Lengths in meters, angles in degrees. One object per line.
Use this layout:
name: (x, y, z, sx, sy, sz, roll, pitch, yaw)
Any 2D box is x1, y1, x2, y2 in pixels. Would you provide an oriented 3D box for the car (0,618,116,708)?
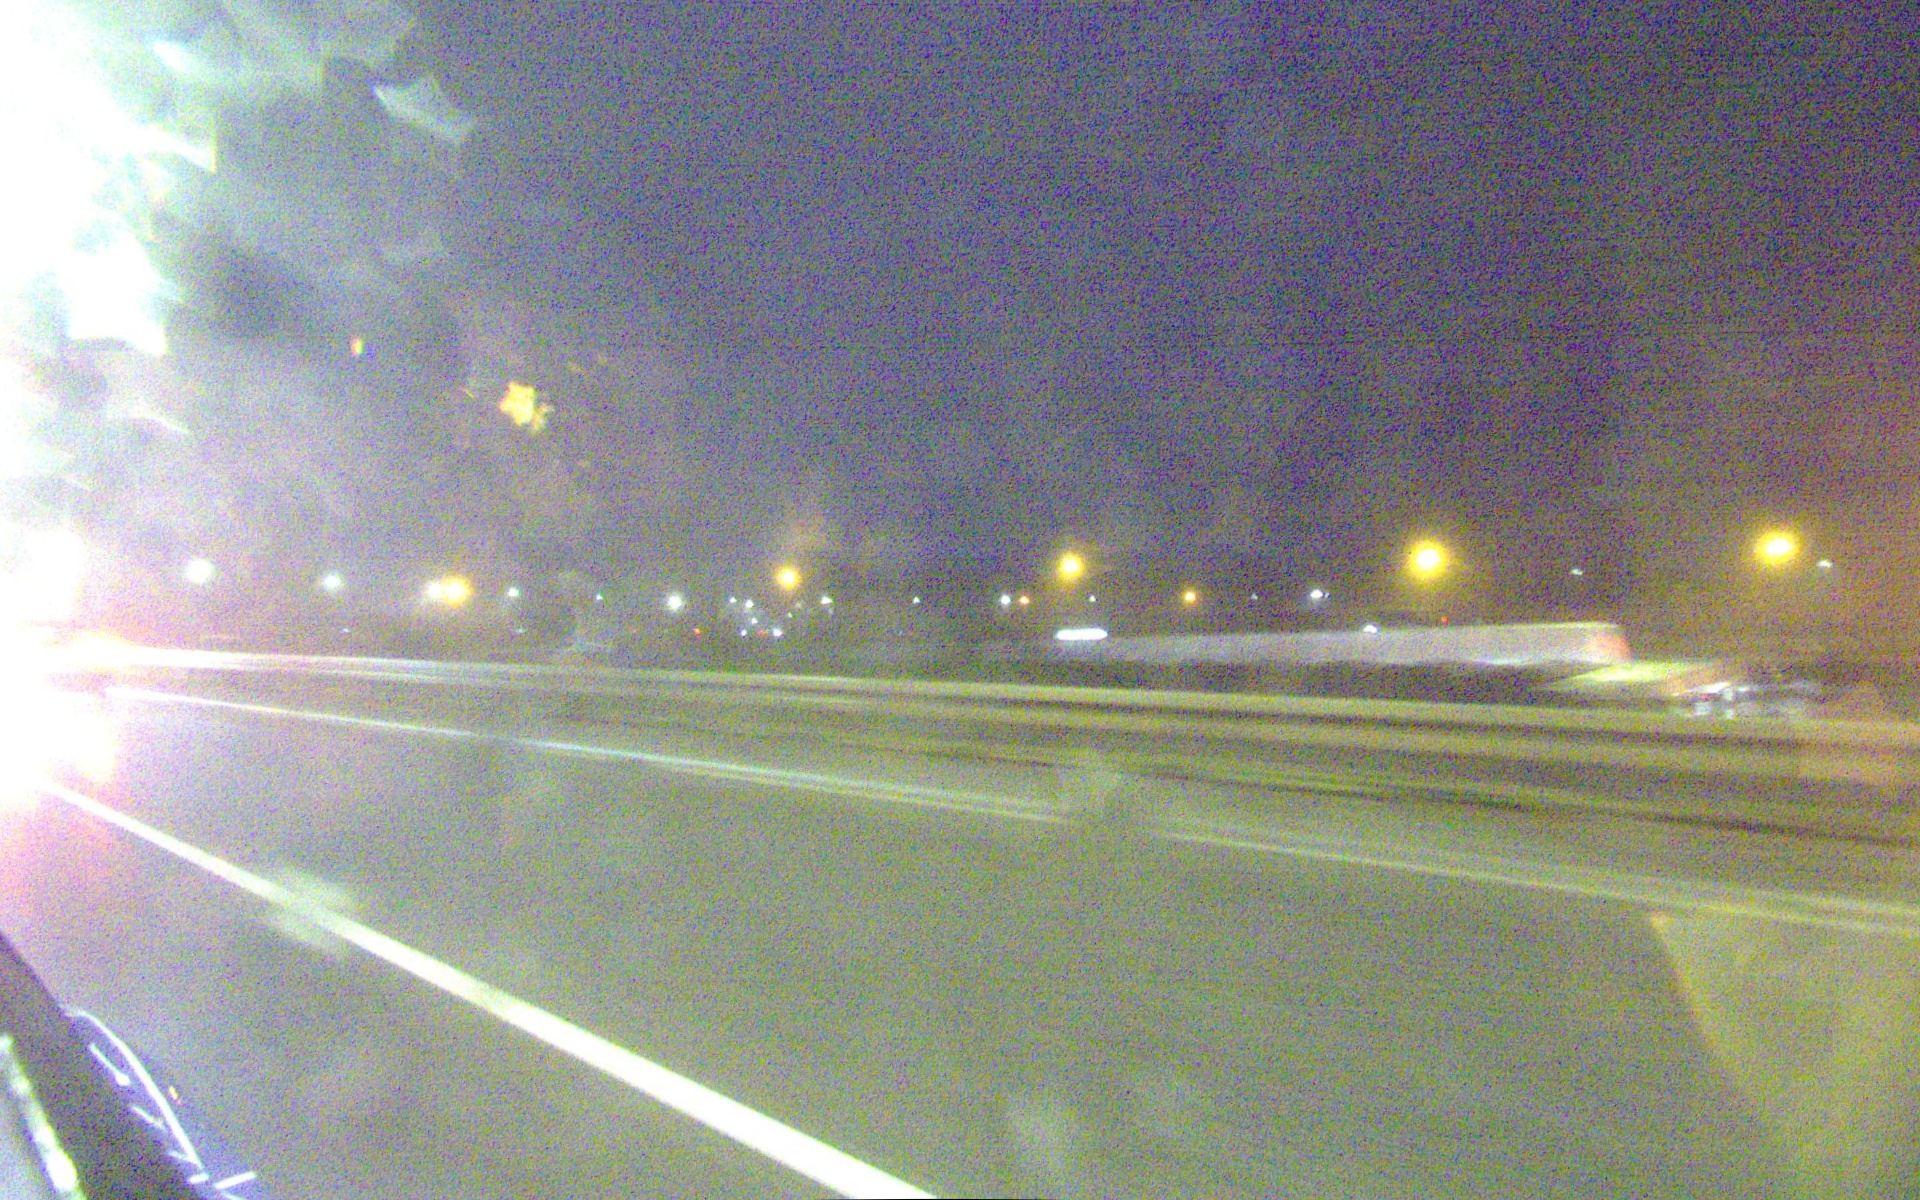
car: (-16.515, 1.049, 17.685, 4.028, 1.413, 1.808, -1, -1, 36)

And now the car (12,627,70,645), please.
car: (-76.040, 2.929, 83.815, 1.767, 1.402, 4.605, 2, -2, -17)

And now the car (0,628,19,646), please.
car: (-81.288, 3.098, 85.242, 1.965, 1.495, 4.012, 2, -3, -28)
